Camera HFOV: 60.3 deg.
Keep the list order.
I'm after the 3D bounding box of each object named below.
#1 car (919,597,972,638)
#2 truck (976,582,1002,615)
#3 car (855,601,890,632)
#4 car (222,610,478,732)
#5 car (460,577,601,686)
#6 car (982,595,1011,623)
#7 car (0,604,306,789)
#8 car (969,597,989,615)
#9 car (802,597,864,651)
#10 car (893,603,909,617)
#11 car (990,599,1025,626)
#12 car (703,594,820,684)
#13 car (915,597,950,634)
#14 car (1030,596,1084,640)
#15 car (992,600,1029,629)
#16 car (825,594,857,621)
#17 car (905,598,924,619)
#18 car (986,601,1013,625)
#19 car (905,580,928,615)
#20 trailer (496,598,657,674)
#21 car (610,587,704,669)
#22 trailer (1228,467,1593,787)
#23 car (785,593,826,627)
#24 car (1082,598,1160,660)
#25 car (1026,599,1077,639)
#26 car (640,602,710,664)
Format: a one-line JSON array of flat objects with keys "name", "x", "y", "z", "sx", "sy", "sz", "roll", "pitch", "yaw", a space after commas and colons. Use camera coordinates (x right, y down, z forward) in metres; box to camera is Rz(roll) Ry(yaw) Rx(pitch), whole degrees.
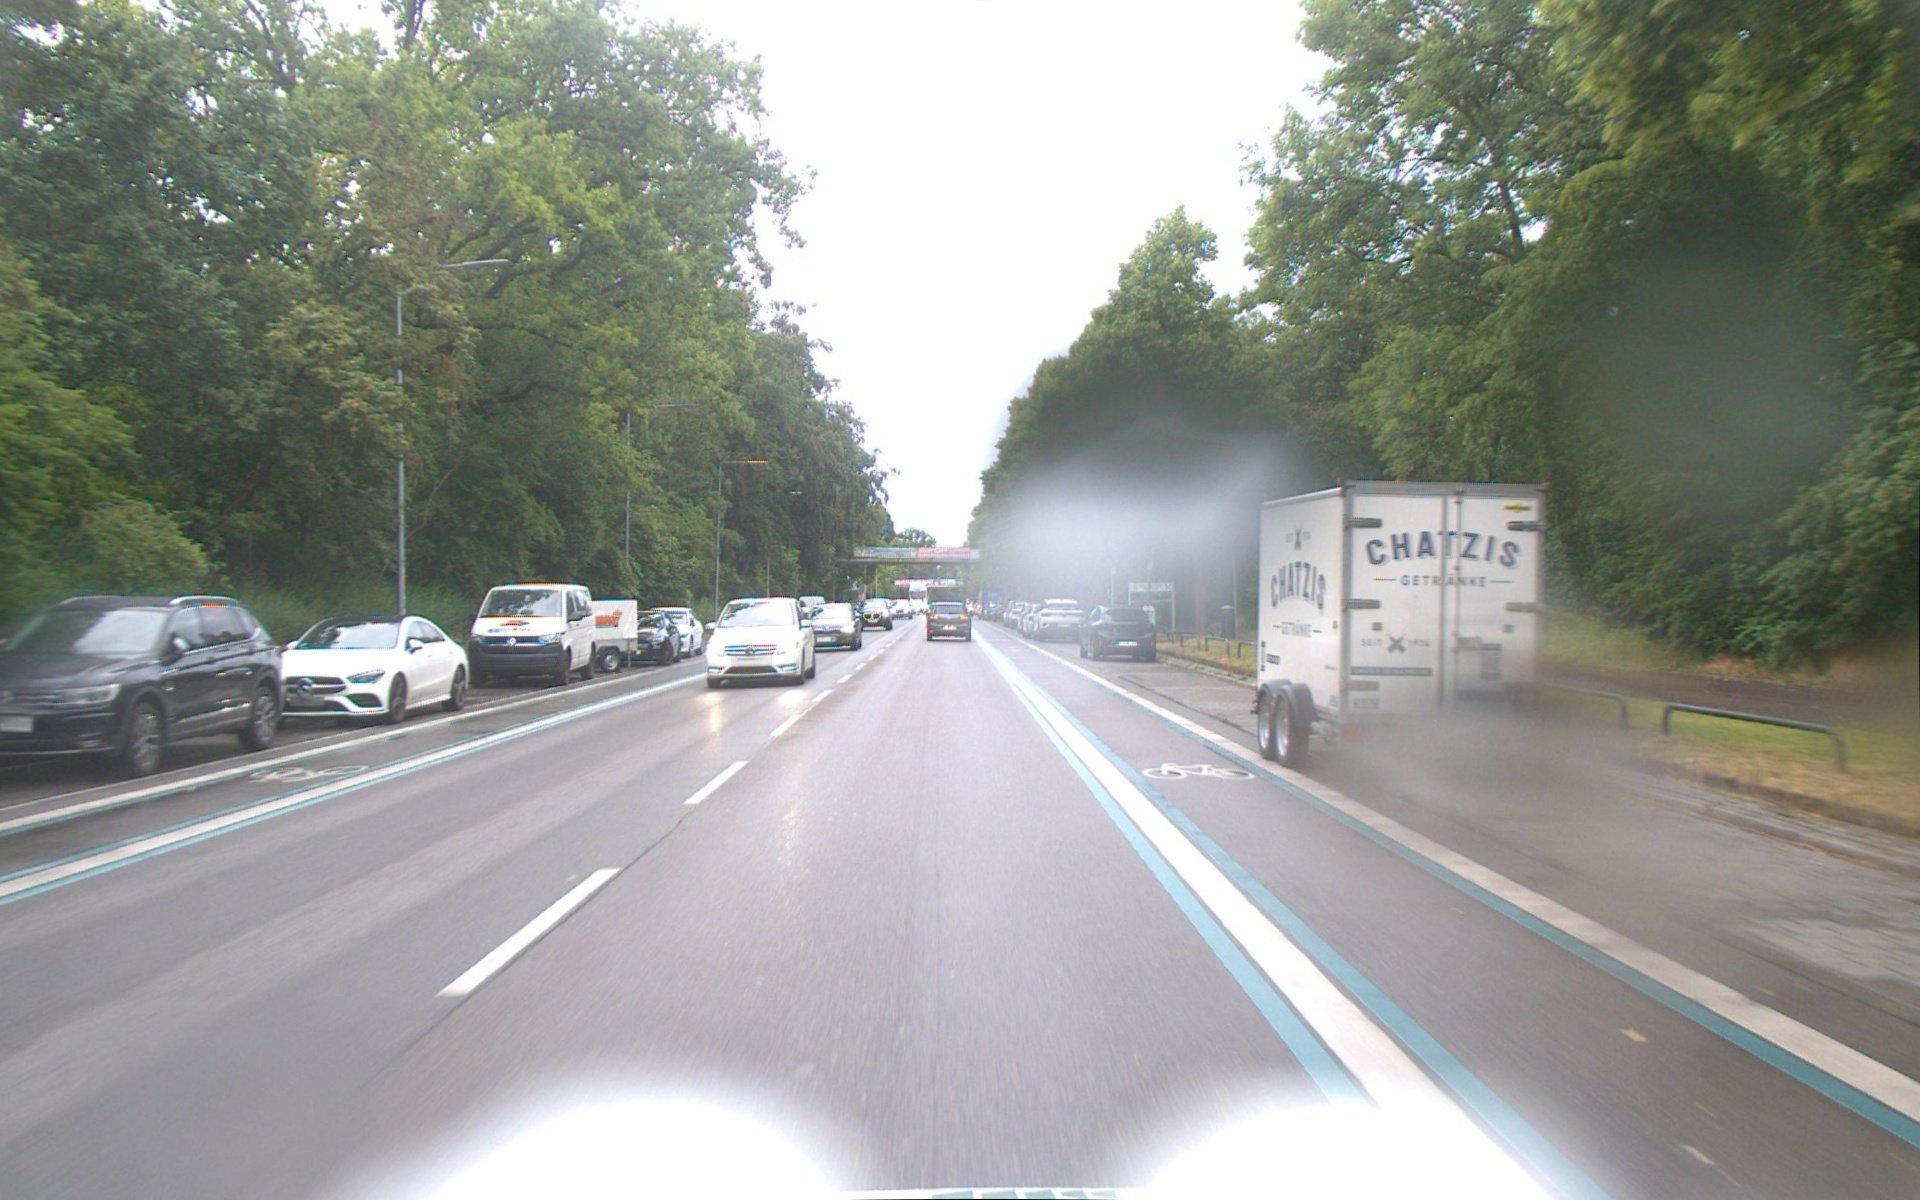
[{"name": "car", "x": -0.587, "y": 0.702, "z": 64.063, "sx": 1.834, "sy": 1.466, "sz": 4.293, "roll": 1, "pitch": -1, "yaw": -3}, {"name": "truck", "x": 2.425, "y": -0.129, "z": 139.085, "sx": 2.070, "sy": 2.644, "sz": 4.300, "roll": 0, "pitch": 0, "yaw": -1}, {"name": "car", "x": -4.622, "y": 0.849, "z": 88.065, "sx": 1.671, "sy": 1.599, "sz": 4.000, "roll": 0, "pitch": 0, "yaw": 0}, {"name": "car", "x": -8.363, "y": 0.909, "z": 23.139, "sx": 1.953, "sy": 1.514, "sz": 4.467, "roll": 0, "pitch": 0, "yaw": -1}, {"name": "car", "x": -8.600, "y": 0.581, "z": 33.513, "sx": 1.901, "sy": 2.049, "sz": 4.736, "roll": 0, "pitch": 0, "yaw": -4}, {"name": "car", "x": 2.677, "y": 0.641, "z": 122.767, "sx": 1.953, "sy": 2.049, "sz": 3.998, "roll": 0, "pitch": 0, "yaw": -2}, {"name": "car", "x": -8.357, "y": 0.849, "z": 16.618, "sx": 1.841, "sy": 1.589, "sz": 4.467, "roll": 0, "pitch": 0, "yaw": -1}, {"name": "car", "x": 1.905, "y": 0.641, "z": 167.307, "sx": 1.953, "sy": 1.780, "sz": 4.000, "roll": 0, "pitch": 0, "yaw": -1}, {"name": "car", "x": -3.964, "y": 0.721, "z": 52.133, "sx": 1.671, "sy": 1.599, "sz": 4.000, "roll": 0, "pitch": 0, "yaw": 0}, {"name": "car", "x": -5.007, "y": 0.866, "z": 140.692, "sx": 1.350, "sy": 1.150, "sz": 3.312, "roll": 0, "pitch": 0, "yaw": -1}, {"name": "car", "x": 2.829, "y": 0.742, "z": 99.460, "sx": 1.953, "sy": 1.590, "sz": 4.000, "roll": 0, "pitch": 0, "yaw": -1}, {"name": "car", "x": -3.630, "y": 0.679, "z": 30.871, "sx": 1.798, "sy": 1.544, "sz": 3.999, "roll": -1, "pitch": 0, "yaw": -2}, {"name": "car", "x": -1.546, "y": 0.859, "z": 93.944, "sx": 1.953, "sy": 2.049, "sz": 3.999, "roll": 0, "pitch": 0, "yaw": -1}, {"name": "car", "x": 3.732, "y": 0.674, "z": 64.135, "sx": 1.858, "sy": 1.634, "sz": 4.000, "roll": 0, "pitch": 0, "yaw": -1}, {"name": "car", "x": 2.877, "y": 0.807, "z": 94.646, "sx": 1.953, "sy": 1.590, "sz": 4.000, "roll": 0, "pitch": 0, "yaw": -1}, {"name": "car", "x": -9.171, "y": 0.545, "z": 127.748, "sx": 2.114, "sy": 2.049, "sz": 5.030, "roll": 0, "pitch": 0, "yaw": 0}, {"name": "car", "x": -4.965, "y": 0.928, "z": 180.419, "sx": 1.953, "sy": 2.049, "sz": 3.998, "roll": -2, "pitch": -3, "yaw": -1}, {"name": "car", "x": 3.115, "y": 1.039, "z": 130.822, "sx": 1.953, "sy": 1.803, "sz": 3.999, "roll": -2, "pitch": -1, "yaw": -1}, {"name": "car", "x": -6.213, "y": -0.388, "z": 237.521, "sx": 3.285, "sy": 5.038, "sz": 9.008, "roll": 0, "pitch": 0, "yaw": -1}, {"name": "trailer", "x": -8.875, "y": 0.797, "z": 38.498, "sx": 1.595, "sy": 1.657, "sz": 3.666, "roll": 0, "pitch": 0, "yaw": 30}, {"name": "car", "x": -8.005, "y": 0.696, "z": 44.056, "sx": 1.901, "sy": 2.049, "sz": 4.736, "roll": 0, "pitch": 0, "yaw": -4}, {"name": "trailer", "x": 4.037, "y": 0.209, "z": 15.658, "sx": 2.089, "sy": 2.605, "sz": 4.294, "roll": 0, "pitch": 0, "yaw": -3}, {"name": "car", "x": -9.623, "y": 0.597, "z": 103.367, "sx": 2.114, "sy": 2.049, "sz": 5.030, "roll": 0, "pitch": 0, "yaw": 0}, {"name": "car", "x": 4.279, "y": 0.742, "z": 44.433, "sx": 1.687, "sy": 1.552, "sz": 4.000, "roll": 0, "pitch": 0, "yaw": -1}, {"name": "car", "x": 3.761, "y": 0.767, "z": 68.751, "sx": 1.858, "sy": 1.634, "sz": 4.000, "roll": 0, "pitch": 0, "yaw": -1}, {"name": "car", "x": -8.644, "y": 0.967, "z": 50.334, "sx": 1.543, "sy": 1.801, "sz": 3.415, "roll": 0, "pitch": 0, "yaw": 0}]
